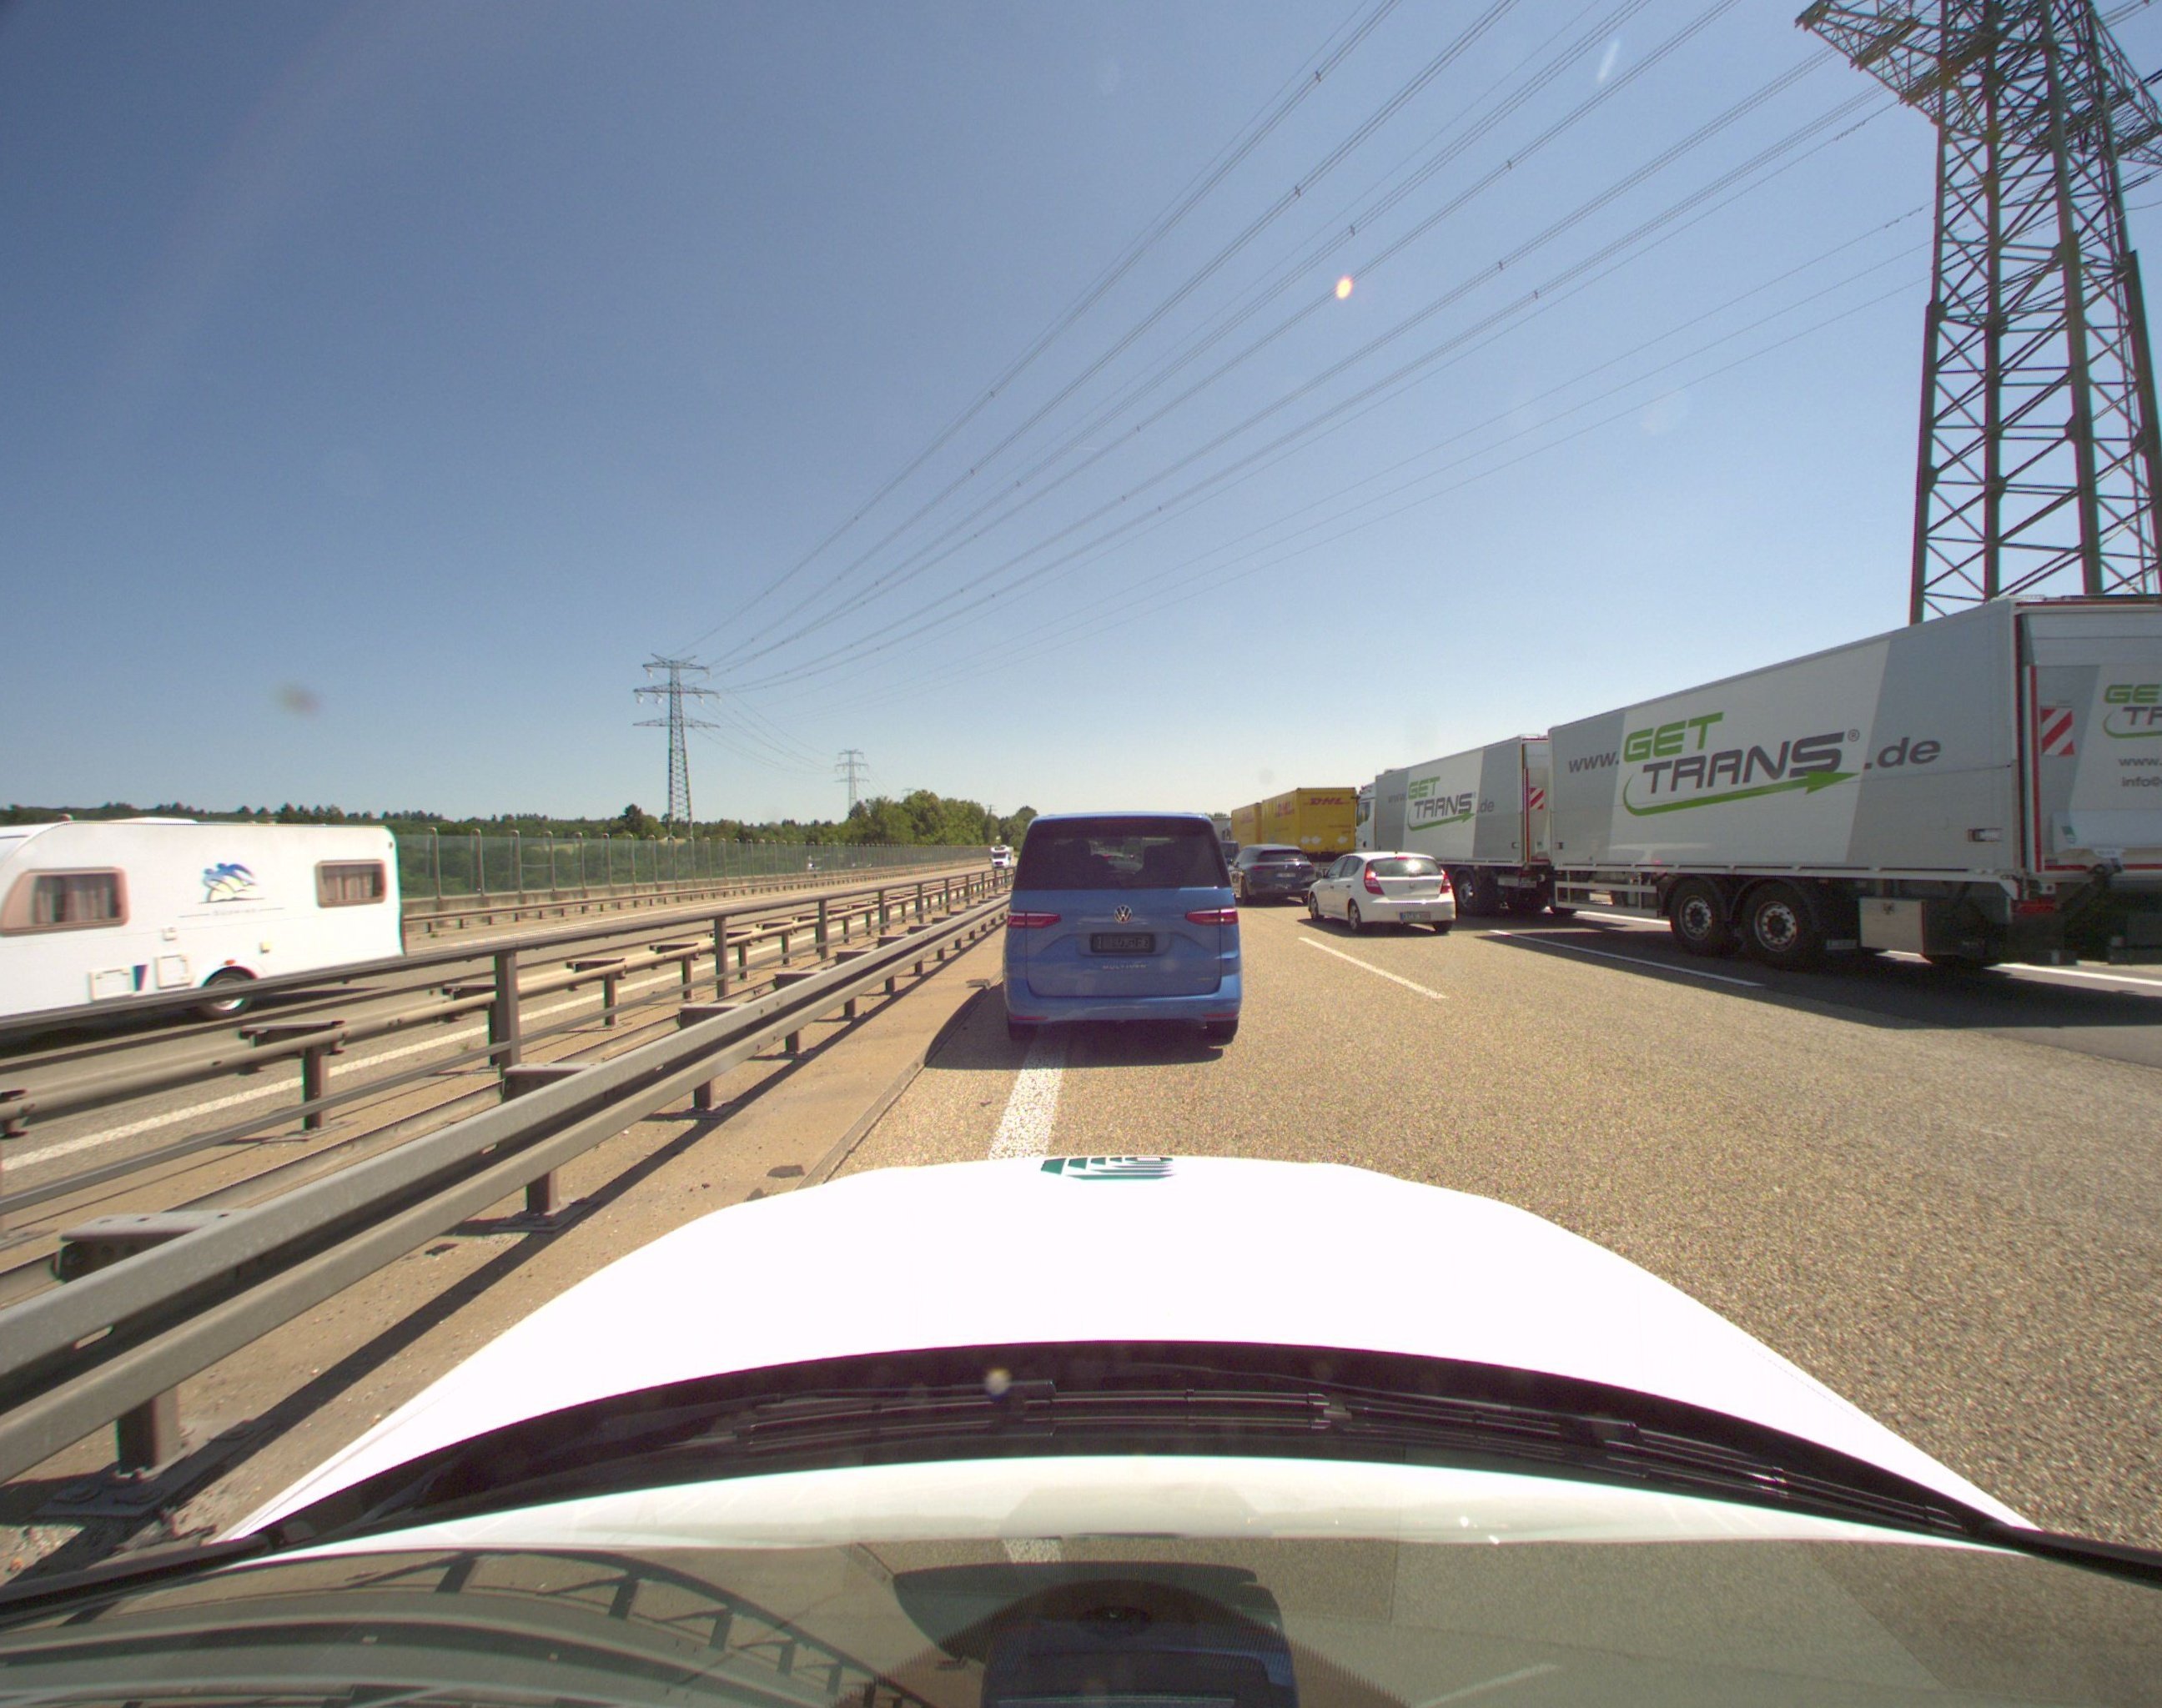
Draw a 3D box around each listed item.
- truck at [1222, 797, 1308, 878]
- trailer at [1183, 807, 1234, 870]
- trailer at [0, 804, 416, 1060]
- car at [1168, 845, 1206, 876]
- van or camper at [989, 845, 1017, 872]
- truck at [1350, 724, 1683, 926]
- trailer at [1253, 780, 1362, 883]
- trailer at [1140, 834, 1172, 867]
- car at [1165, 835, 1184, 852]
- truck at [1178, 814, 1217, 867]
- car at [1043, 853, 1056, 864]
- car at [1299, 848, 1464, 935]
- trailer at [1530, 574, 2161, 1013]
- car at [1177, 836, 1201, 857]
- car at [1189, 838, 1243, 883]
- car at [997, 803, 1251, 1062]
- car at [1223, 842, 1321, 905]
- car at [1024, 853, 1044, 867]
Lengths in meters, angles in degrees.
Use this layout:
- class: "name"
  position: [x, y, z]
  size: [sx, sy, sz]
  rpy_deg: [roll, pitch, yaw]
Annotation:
- class: "truck"
  position: [10.634, -0.872, 48.365]
  size: [2.826, 4.243, 11.013]
  rpy_deg: [0, 0, 1]
- class: "trailer"
  position: [9.958, -1.126, 64.838]
  size: [2.627, 4.516, 11.305]
  rpy_deg: [0, 0, 2]
- class: "trailer"
  position: [-11.966, 0.838, 9.551]
  size: [2.484, 2.549, 6.777]
  rpy_deg: [-3, 0, 2]
- class: "car"
  position: [6.659, 0.394, 51.582]
  size: [1.986, 1.816, 4.002]
  rpy_deg: [-1, 0, 2]
- class: "van or camper"
  position: [-9.642, 0.531, 100.988]
  size: [2.413, 3.024, 7.030]
  rpy_deg: [-3, 0, 2]
- class: "truck"
  position: [9.796, -0.542, 20.437]
  size: [2.647, 3.648, 11.013]
  rpy_deg: [-1, 0, 1]
- class: "trailer"
  position: [10.374, -0.910, 38.336]
  size: [2.854, 4.239, 9.015]
  rpy_deg: [0, 0, 2]
- class: "trailer"
  position: [7.333, -0.304, 80.504]
  size: [2.559, 2.990, 10.668]
  rpy_deg: [0, 0, 2]
- class: "car"
  position: [11.361, -1.239, 99.300]
  size: [1.986, 2.013, 4.463]
  rpy_deg: [-2, 0, 2]
- class: "truck"
  position: [10.238, -1.110, 72.213]
  size: [2.657, 4.484, 6.852]
  rpy_deg: [0, 0, 2]
- class: "car"
  position: [-5.332, 0.689, 139.789]
  size: [1.860, 1.699, 4.431]
  rpy_deg: [-4, 1, 1]
- class: "car"
  position: [5.750, 0.650, 16.183]
  size: [1.782, 1.455, 4.295]
  rpy_deg: [-1, 0, 2]
- class: "trailer"
  position: [9.515, -0.539, 10.905]
  size: [2.688, 3.700, 8.017]
  rpy_deg: [-1, 0, 1]
- class: "car"
  position: [10.808, -0.703, 81.720]
  size: [1.986, 2.014, 4.002]
  rpy_deg: [0, 0, 2]
- class: "car"
  position: [6.474, 0.294, 39.448]
  size: [1.955, 1.993, 4.295]
  rpy_deg: [-1, 0, 2]
- class: "car"
  position: [0.377, 0.571, 7.918]
  size: [1.813, 1.857, 4.076]
  rpy_deg: [0, 0, 2]
- class: "car"
  position: [5.465, 0.524, 23.900]
  size: [1.955, 1.644, 4.295]
  rpy_deg: [-1, 0, 2]
- class: "car"
  position: [-5.700, 0.705, 99.682]
  size: [1.860, 1.531, 4.426]
  rpy_deg: [-5, 0, 2]
